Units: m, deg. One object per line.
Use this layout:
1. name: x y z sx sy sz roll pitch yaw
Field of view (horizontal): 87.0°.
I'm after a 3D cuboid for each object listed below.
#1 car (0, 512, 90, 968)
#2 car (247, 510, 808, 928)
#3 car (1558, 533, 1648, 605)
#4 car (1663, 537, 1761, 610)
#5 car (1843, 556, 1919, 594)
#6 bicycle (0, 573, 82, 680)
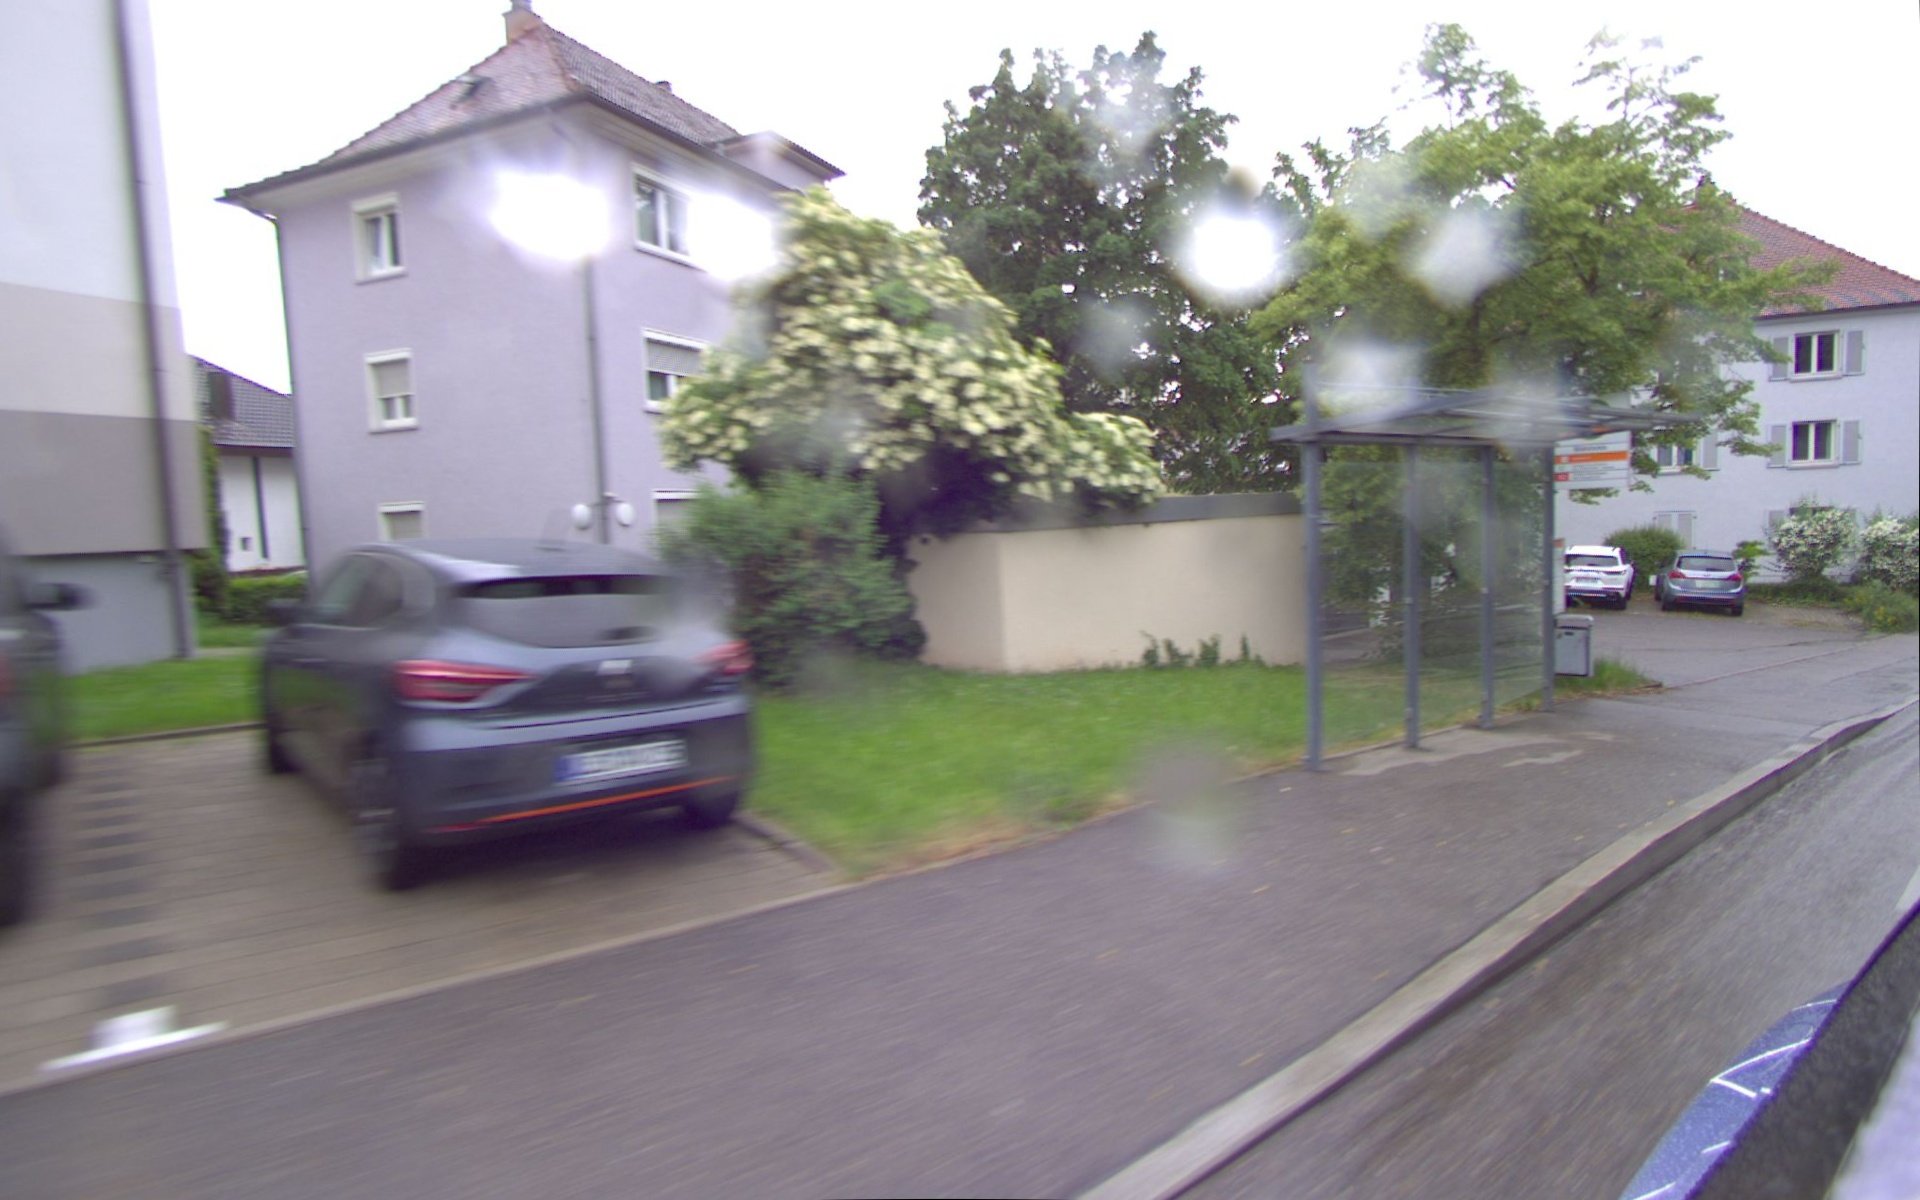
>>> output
1. car: -4.746 0.371 4.229 1.638 1.515 3.445 0 3 -42
2. car: -2.597 0.311 5.528 1.695 1.476 3.750 0 3 -42
3. car: 18.174 -0.945 28.529 1.786 1.610 4.206 5 9 36
4. car: 20.471 -0.792 27.677 1.712 1.580 3.756 5 8 31
5. car: 37.699 -0.995 39.866 1.688 1.425 4.103 -2 2 -19
6. bicycle: -9.394 0.251 9.494 0.566 1.002 1.669 1 1 23
